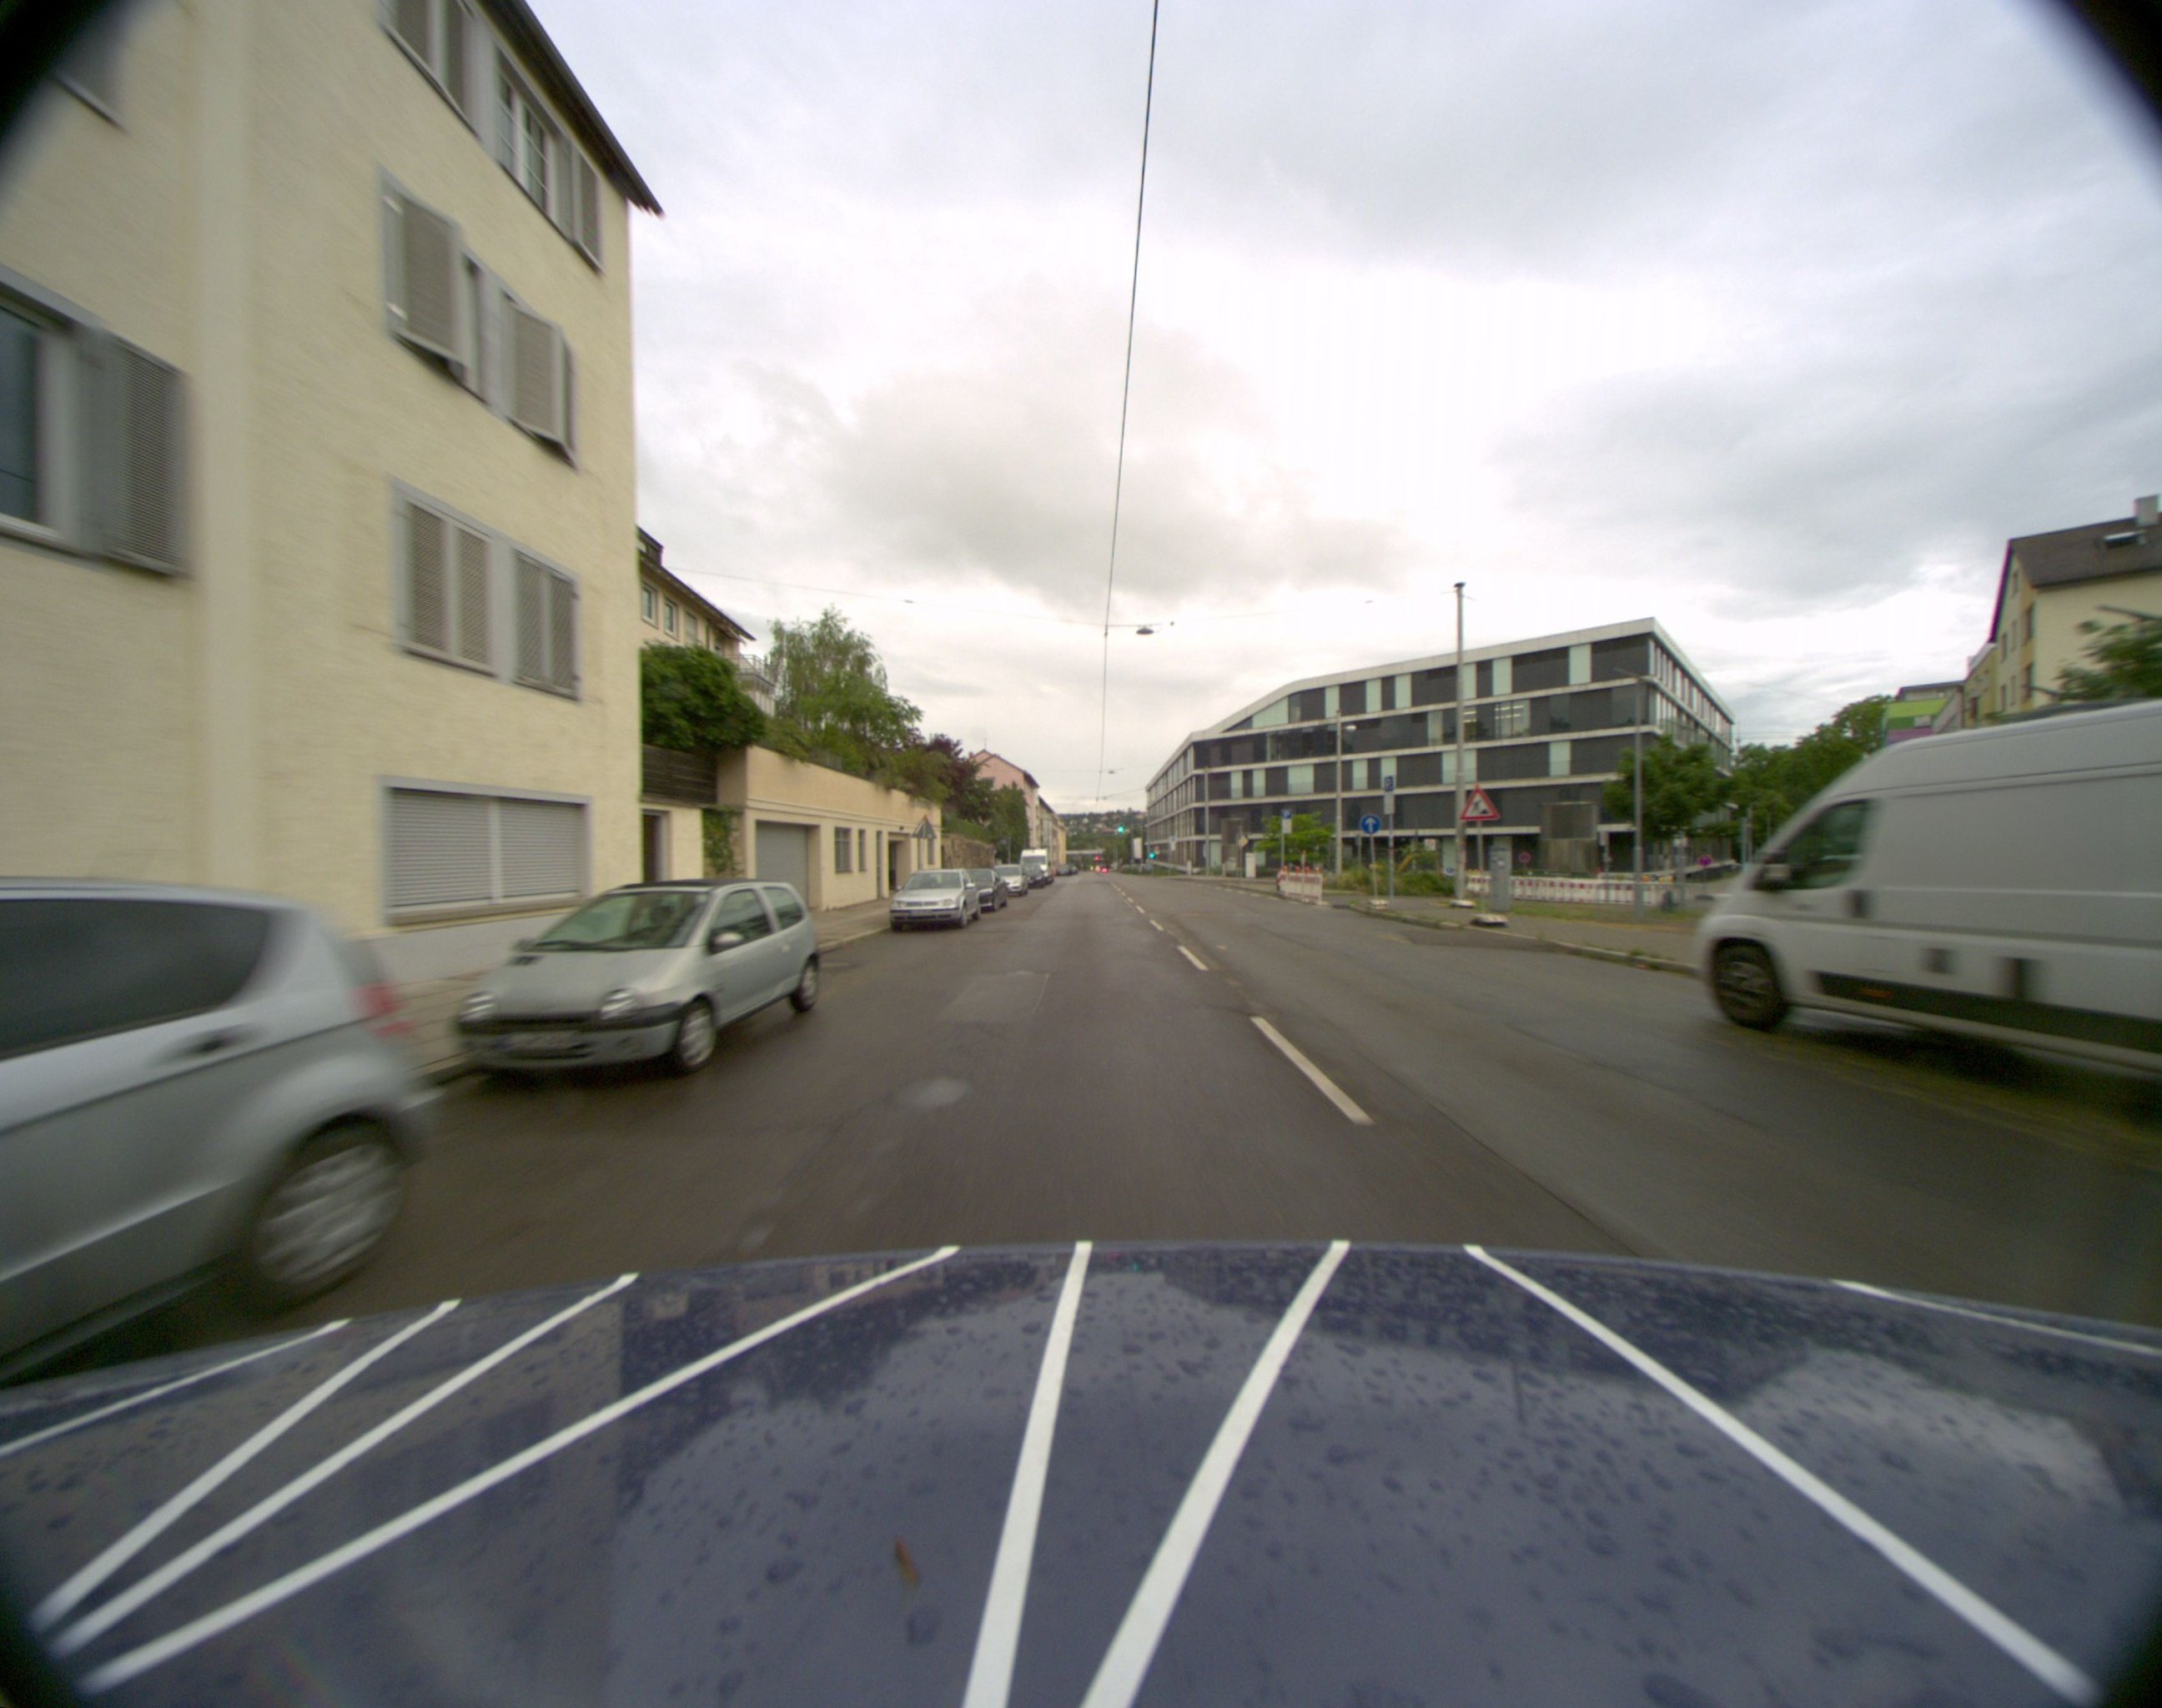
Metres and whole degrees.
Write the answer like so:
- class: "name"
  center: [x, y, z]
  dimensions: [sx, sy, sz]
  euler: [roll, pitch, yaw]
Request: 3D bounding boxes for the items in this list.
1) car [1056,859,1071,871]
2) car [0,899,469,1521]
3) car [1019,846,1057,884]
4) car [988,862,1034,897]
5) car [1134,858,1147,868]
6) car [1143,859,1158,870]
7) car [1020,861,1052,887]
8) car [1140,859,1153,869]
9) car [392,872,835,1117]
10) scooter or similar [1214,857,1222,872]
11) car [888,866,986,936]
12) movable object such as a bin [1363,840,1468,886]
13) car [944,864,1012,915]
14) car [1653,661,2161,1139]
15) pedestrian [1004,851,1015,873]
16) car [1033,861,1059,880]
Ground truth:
- class: "car"
  center: [-2.378, 1.495, 103.165]
  dimensions: [1.796, 1.510, 4.513]
  euler: [-4, 0, 1]
- class: "car"
  center: [-3.662, 0.987, 1.442]
  dimensions: [1.720, 1.515, 4.000]
  euler: [-2, 0, 0]
- class: "car"
  center: [-2.988, 0.763, 54.347]
  dimensions: [2.211, 2.449, 6.080]
  euler: [-2, 0, 1]
- class: "car"
  center: [-3.267, 1.171, 36.097]
  dimensions: [1.693, 1.445, 4.235]
  euler: [-2, 0, 0]
- class: "car"
  center: [9.234, 1.381, 118.589]
  dimensions: [1.886, 1.580, 4.364]
  euler: [-2, 0, 3]
- class: "car"
  center: [9.303, 1.425, 102.120]
  dimensions: [1.641, 1.458, 3.583]
  euler: [-1, 0, -1]
- class: "car"
  center: [-2.784, 1.207, 47.435]
  dimensions: [1.693, 1.445, 4.235]
  euler: [-2, 0, 0]
- class: "car"
  center: [9.256, 1.412, 107.056]
  dimensions: [1.641, 1.458, 3.584]
  euler: [-1, 0, 2]
- class: "car"
  center: [-3.620, 0.955, 6.778]
  dimensions: [1.562, 1.445, 3.759]
  euler: [-2, 0, 0]
- class: "scooter or similar"
  center: [11.911, 0.922, 66.112]
  dimensions: [0.497, 1.241, 1.231]
  euler: [-2, 1, 2]
- class: "car"
  center: [-3.466, 1.089, 18.919]
  dimensions: [1.633, 1.445, 3.759]
  euler: [-2, 0, 0]
- class: "movable object such as a bin"
  center: [18.811, 0.477, 43.003]
  dimensions: [1.674, 2.445, 5.274]
  euler: [-1, 1, -38]
- class: "car"
  center: [-3.312, 1.108, 25.013]
  dimensions: [1.633, 1.445, 3.759]
  euler: [-2, 0, 0]
- class: "car"
  center: [6.918, 0.257, 4.407]
  dimensions: [2.236, 2.564, 6.537]
  euler: [1, 0, 0]
- class: "pedestrian"
  center: [-5.536, 0.623, 59.010]
  dimensions: [0.725, 1.705, 0.905]
  euler: [1, 0, 2]
- class: "car"
  center: [-2.758, 1.288, 60.934]
  dimensions: [1.725, 1.413, 4.203]
  euler: [-2, 0, 2]
